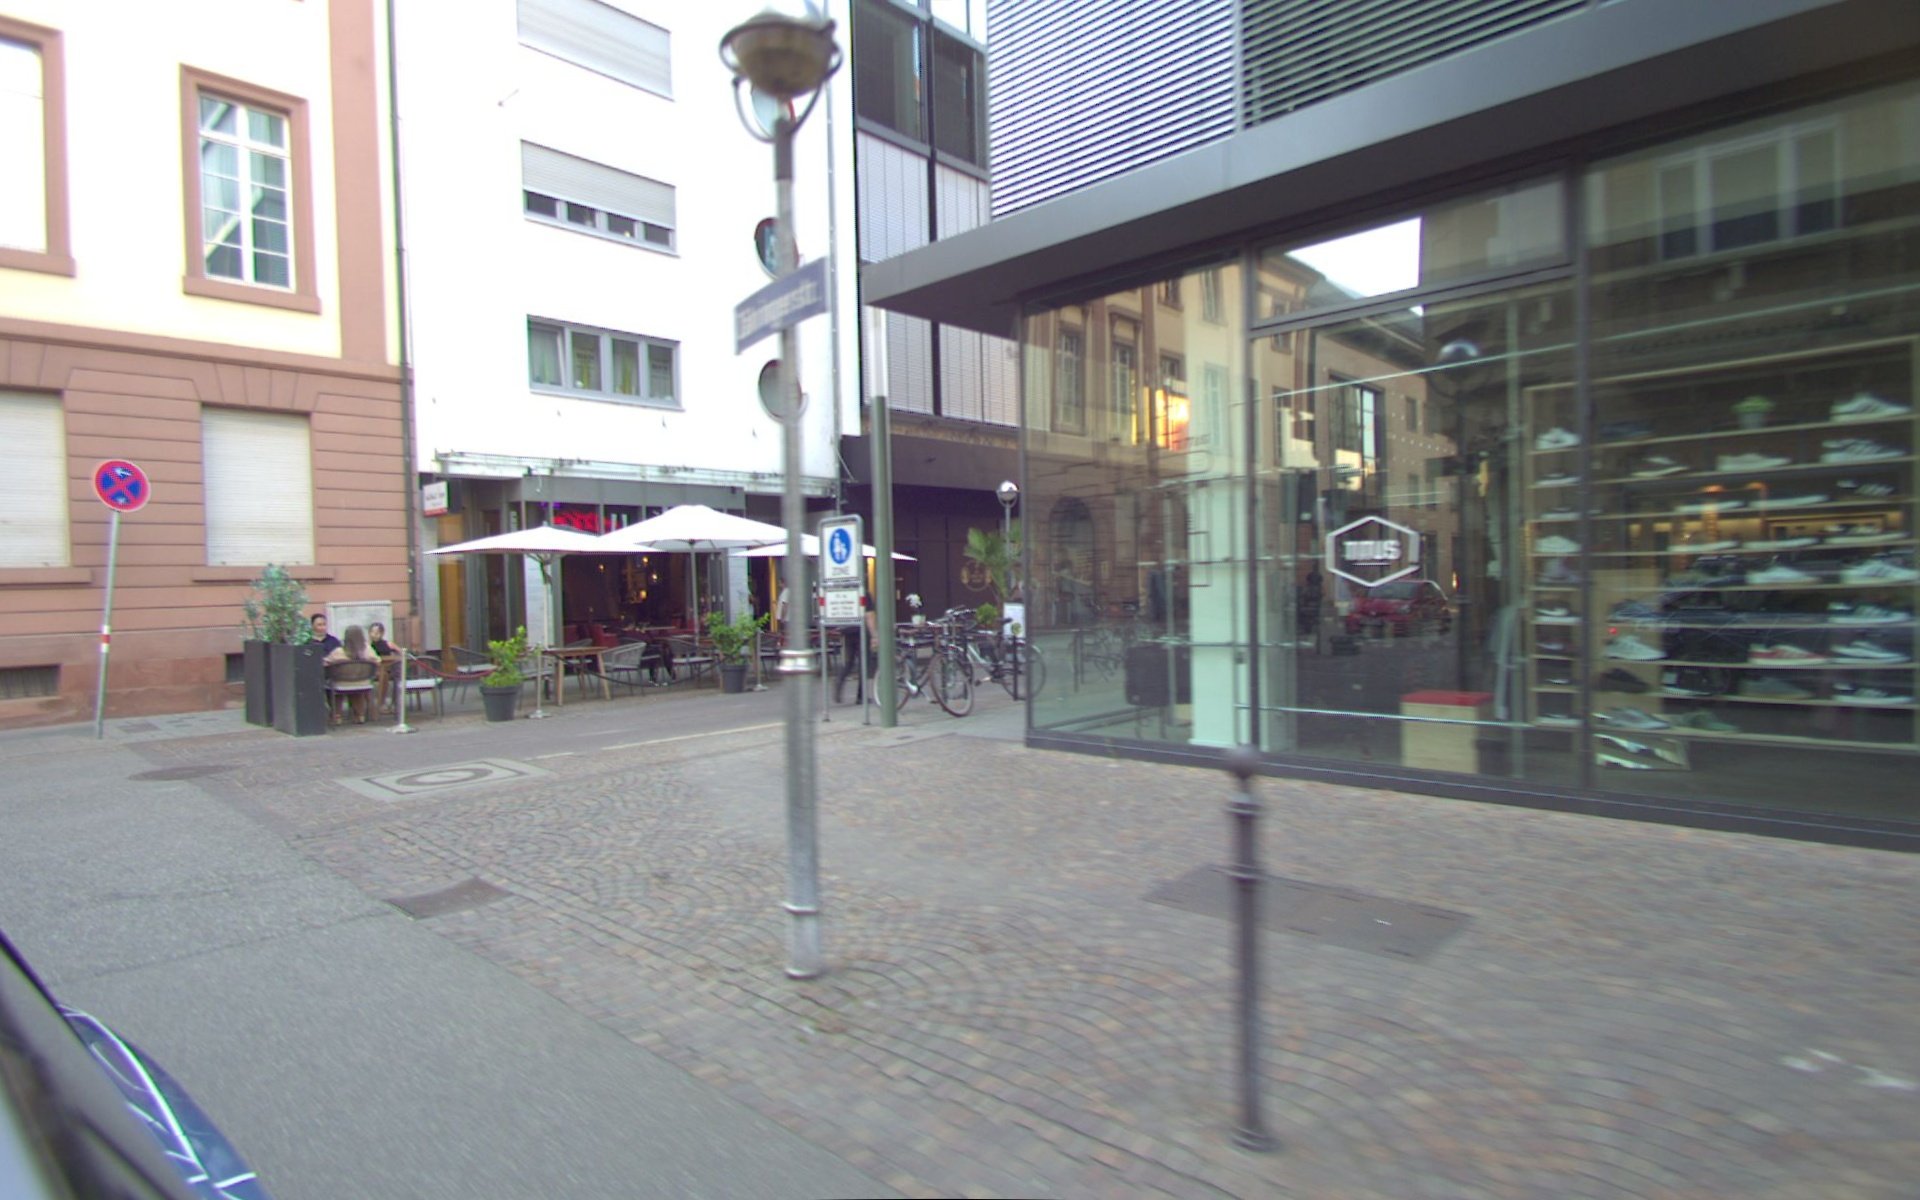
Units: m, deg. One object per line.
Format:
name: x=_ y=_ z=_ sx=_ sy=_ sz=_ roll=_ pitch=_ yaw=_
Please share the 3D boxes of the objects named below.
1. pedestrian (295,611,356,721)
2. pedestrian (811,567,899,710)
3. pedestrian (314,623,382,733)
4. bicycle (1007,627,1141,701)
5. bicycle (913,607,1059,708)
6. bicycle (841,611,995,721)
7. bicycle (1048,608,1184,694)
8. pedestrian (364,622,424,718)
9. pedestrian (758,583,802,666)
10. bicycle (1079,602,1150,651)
pedestrian: x=-8.169 y=0.833 z=13.032 sx=0.489 sy=1.359 sz=0.541 roll=-1 pitch=0 yaw=45
pedestrian: x=-1.358 y=0.480 z=13.235 sx=0.735 sy=1.798 sz=0.961 roll=-1 pitch=0 yaw=23
pedestrian: x=-7.151 y=0.888 z=11.821 sx=0.461 sy=1.221 sz=0.554 roll=-1 pitch=0 yaw=45
bicycle: x=1.463 y=0.831 z=13.272 sx=1.793 sy=0.902 sz=0.448 roll=-3 pitch=-1 yaw=42
bicycle: x=0.298 y=0.713 z=12.673 sx=1.841 sy=1.159 sz=0.601 roll=-3 pitch=-1 yaw=42
bicycle: x=-0.494 y=0.719 z=11.343 sx=1.673 sy=1.121 sz=0.700 roll=-3 pitch=-1 yaw=42
bicycle: x=2.218 y=0.721 z=14.549 sx=1.911 sy=1.153 sz=0.549 roll=-3 pitch=0 yaw=42
pedestrian: x=-7.547 y=0.919 z=13.497 sx=0.524 sy=1.220 sz=0.541 roll=-1 pitch=0 yaw=45
pedestrian: x=-3.709 y=0.493 z=20.908 sx=0.619 sy=1.678 sz=0.667 roll=-2 pitch=0 yaw=15
bicycle: x=3.528 y=0.601 z=23.174 sx=1.542 sy=1.093 sz=0.541 roll=-1 pitch=0 yaw=42
